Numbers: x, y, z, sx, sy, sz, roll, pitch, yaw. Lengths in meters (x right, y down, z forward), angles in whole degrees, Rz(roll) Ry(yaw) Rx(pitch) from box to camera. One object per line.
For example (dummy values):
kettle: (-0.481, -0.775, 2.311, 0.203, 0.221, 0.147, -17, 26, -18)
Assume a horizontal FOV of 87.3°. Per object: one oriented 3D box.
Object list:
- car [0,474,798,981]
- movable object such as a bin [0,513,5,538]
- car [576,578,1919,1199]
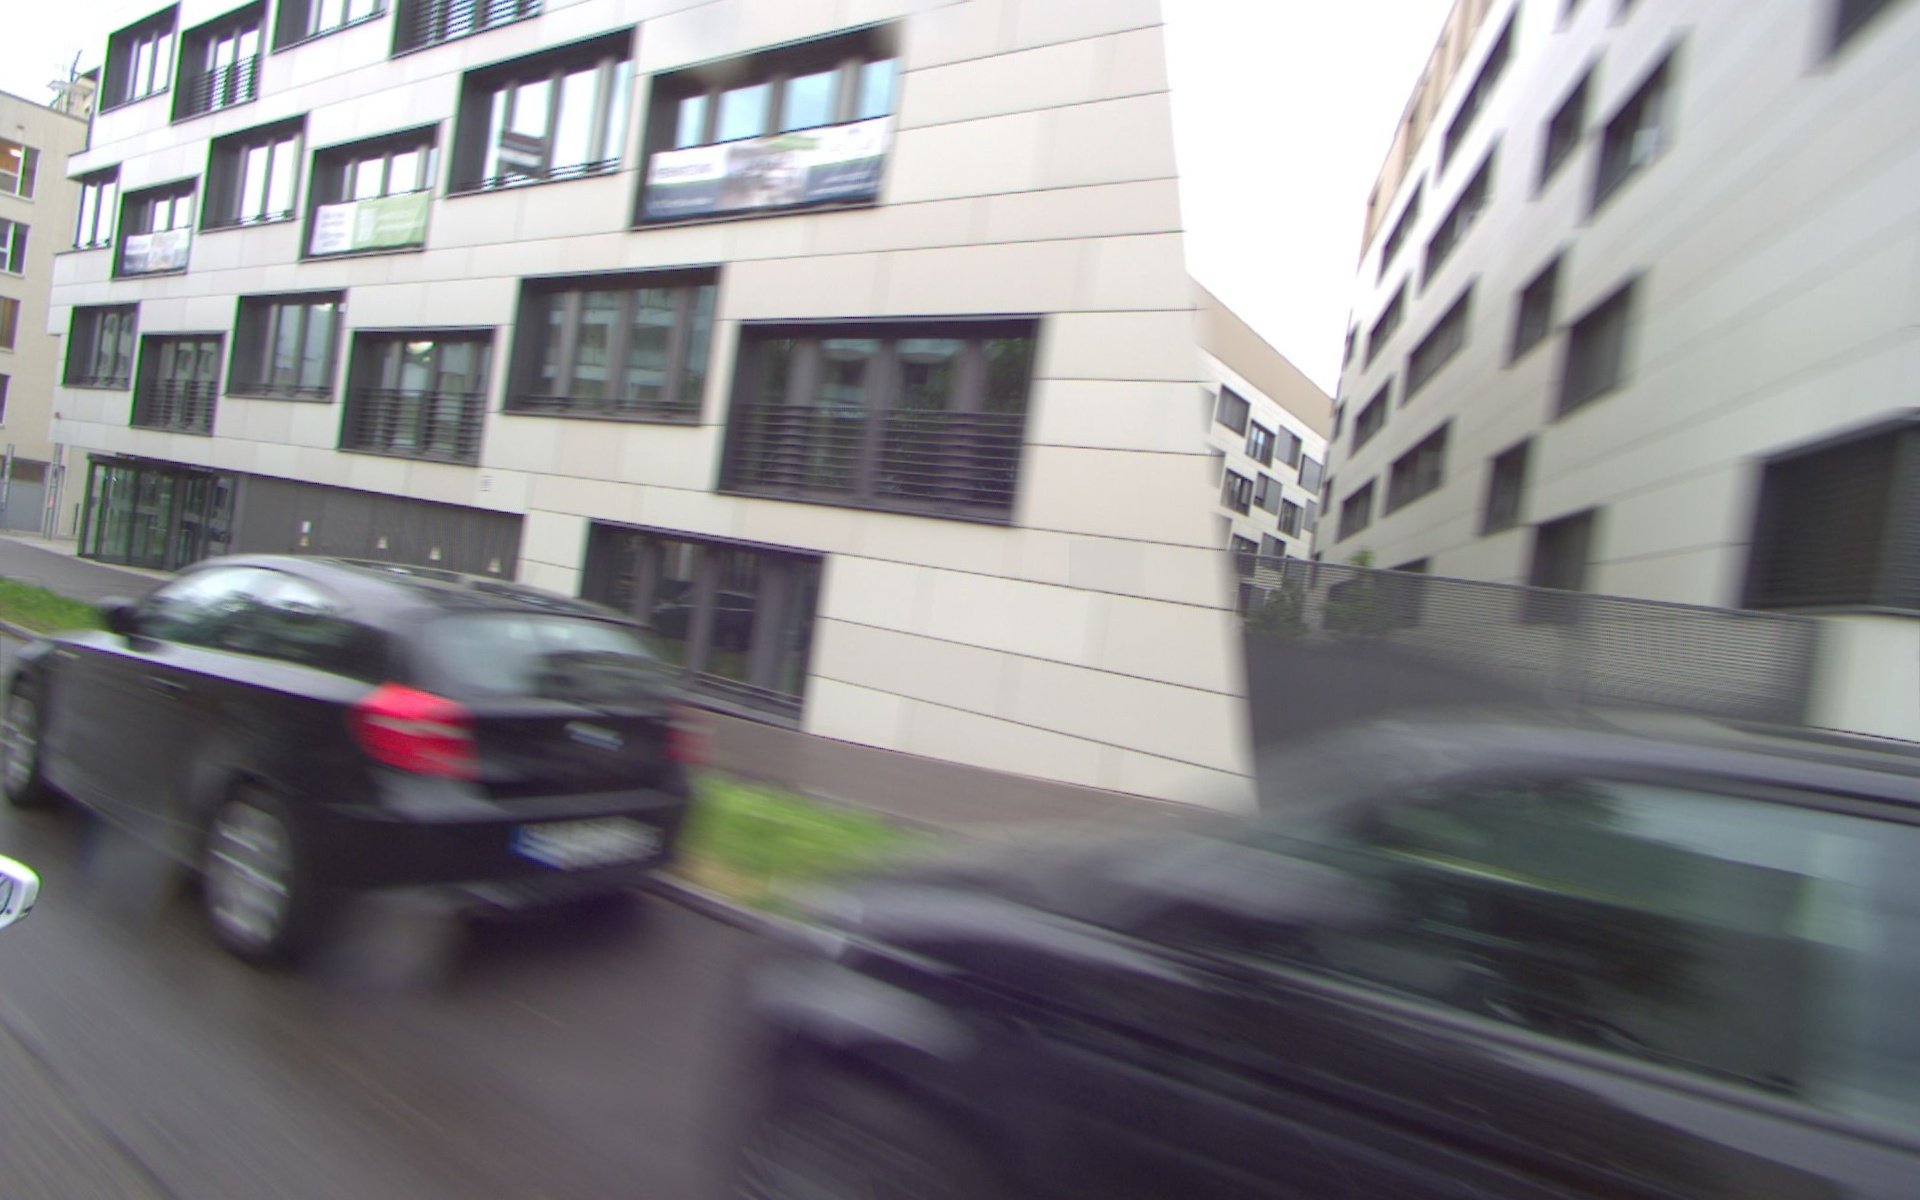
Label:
car: (-3.120, 0.304, 4.997, 4.424, 1.502, 1.809, 5, -2, 34)
movable object such as a bin: (-40.575, -3.160, 42.070, 0.840, 1.039, 0.699, 6, 0, 36)
car: (1.072, 0.935, 1.966, 3.603, 1.496, 1.547, 7, -1, 35)
